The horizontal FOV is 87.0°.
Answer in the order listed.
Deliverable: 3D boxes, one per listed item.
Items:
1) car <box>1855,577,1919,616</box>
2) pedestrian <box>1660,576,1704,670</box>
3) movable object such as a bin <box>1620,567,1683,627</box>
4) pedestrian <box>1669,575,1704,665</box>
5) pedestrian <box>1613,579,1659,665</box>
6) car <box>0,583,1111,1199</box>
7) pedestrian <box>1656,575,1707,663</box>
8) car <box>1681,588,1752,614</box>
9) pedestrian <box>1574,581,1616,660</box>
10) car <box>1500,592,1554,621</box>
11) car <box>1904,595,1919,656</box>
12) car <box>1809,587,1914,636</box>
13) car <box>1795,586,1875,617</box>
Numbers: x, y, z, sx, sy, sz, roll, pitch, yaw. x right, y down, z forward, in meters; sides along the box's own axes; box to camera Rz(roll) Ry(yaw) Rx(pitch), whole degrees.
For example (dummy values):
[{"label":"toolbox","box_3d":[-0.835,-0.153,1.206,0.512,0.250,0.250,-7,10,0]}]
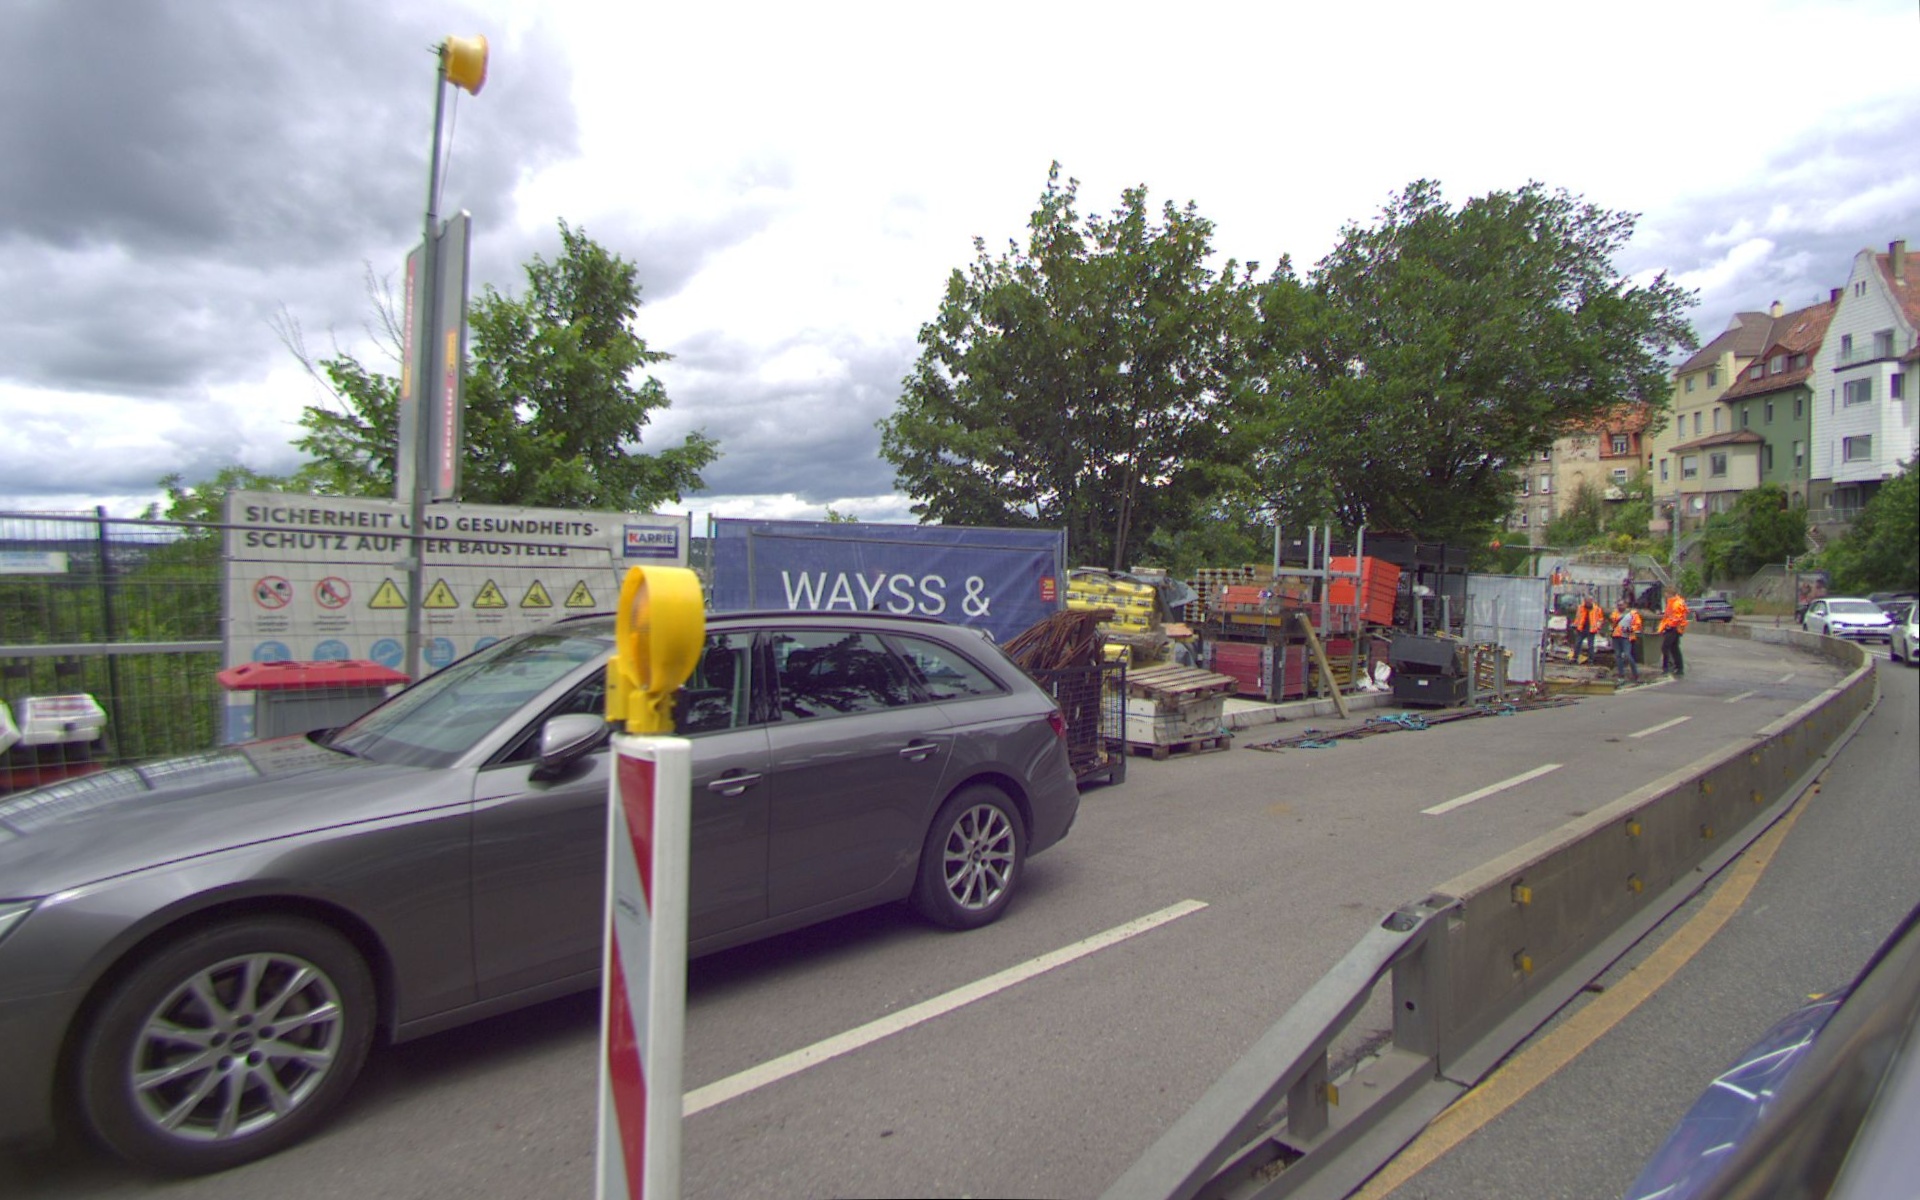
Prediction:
[{"label":"car","box_3d":[43.094,-0.155,46.427,1.749,1.616,3.763,-5,-2,22]},{"label":"pedestrian","box_3d":[14.889,0.456,20.889,0.636,1.882,0.824,3,2,35]},{"label":"movable object such as a bin","box_3d":[31.917,-0.127,46.801,1.846,2.628,3.409,-2,-1,27]},{"label":"pedestrian","box_3d":[15.567,0.413,21.699,0.524,1.865,0.786,3,2,35]},{"label":"pedestrian","box_3d":[15.387,0.503,23.064,0.724,1.916,0.613,-3,-3,28]},{"label":"car","box_3d":[-1.504,0.692,4.235,4.550,1.473,1.841,0,0,-44]},{"label":"pedestrian","box_3d":[16.119,0.425,22.625,0.608,1.909,0.717,2,-1,6]},{"label":"car","box_3d":[44.612,0.065,59.817,1.774,1.489,4.183,-1,-1,13]},{"label":"pedestrian","box_3d":[14.976,0.480,23.867,0.639,1.817,0.639,-3,-1,21]},{"label":"car","box_3d":[34.547,0.383,61.741,1.767,1.707,3.983,-1,0,13]},{"label":"car","box_3d":[23.158,0.581,23.278,1.790,1.323,4.044,0,1,39]},{"label":"car","box_3d":[31.273,0.378,35.240,1.870,1.598,3.958,-1,0,29]},{"label":"car","box_3d":[45.230,0.075,52.401,1.661,1.435,3.769,-5,-2,18]}]
